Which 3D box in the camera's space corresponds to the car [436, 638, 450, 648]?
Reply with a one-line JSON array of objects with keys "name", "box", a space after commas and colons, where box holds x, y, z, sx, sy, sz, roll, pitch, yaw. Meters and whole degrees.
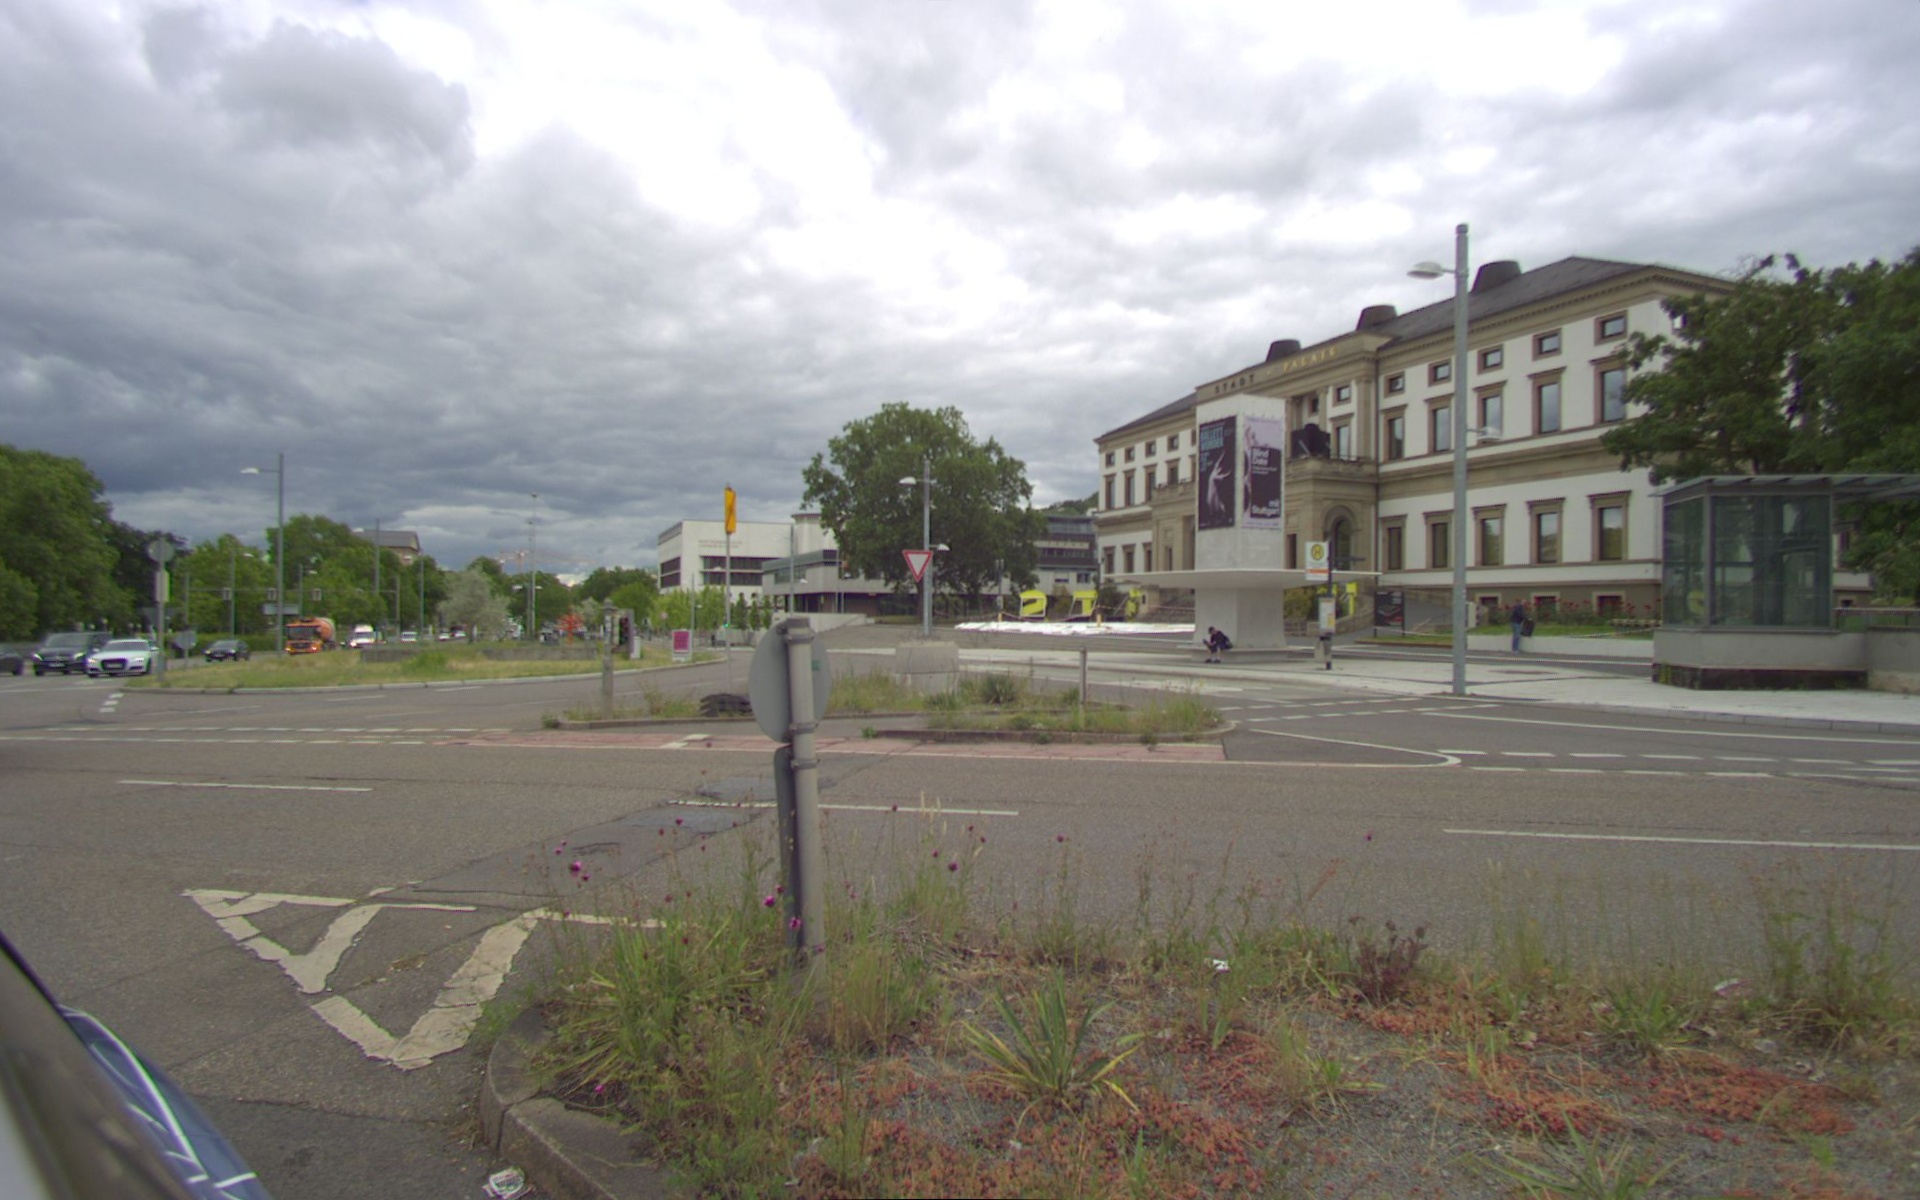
[{"name": "car", "box": [-97.320, 8.141, 190.522, 1.753, 1.859, 3.811, 0, -2, -20]}]

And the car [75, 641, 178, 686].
[{"name": "car", "box": [-32.811, 2.452, 40.010, 2.060, 1.621, 4.426, 1, -2, -25]}]

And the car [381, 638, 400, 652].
[{"name": "car", "box": [-76.694, 6.050, 136.318, 1.753, 1.859, 3.811, 0, -2, -23]}]

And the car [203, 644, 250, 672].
[{"name": "car", "box": [-49.431, 3.862, 68.243, 1.828, 1.752, 3.752, 0, -2, -24]}]

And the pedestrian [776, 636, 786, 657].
[{"name": "pedestrian", "box": [-15.512, 4.017, 87.693, 0.672, 1.762, 0.894, 0, -2, -28]}]

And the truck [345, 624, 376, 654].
[{"name": "truck", "box": [-59.080, 3.794, 99.828, 1.923, 2.805, 5.808, 0, -2, -23]}]

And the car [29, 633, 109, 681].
[{"name": "car", "box": [-39.499, 2.465, 44.972, 1.829, 2.003, 4.655, 1, -2, -31]}]

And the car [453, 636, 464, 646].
[{"name": "car", "box": [-103.792, 8.505, 209.469, 1.753, 1.859, 3.811, 0, -2, -20]}]

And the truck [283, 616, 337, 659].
[{"name": "truck", "box": [-58.665, 3.384, 91.536, 2.681, 3.644, 9.208, 0, -2, -24]}]

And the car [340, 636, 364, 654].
[{"name": "car", "box": [-66.818, 4.924, 111.203, 1.753, 1.922, 3.811, 0, -2, -23]}]

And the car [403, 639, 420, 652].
[{"name": "car", "box": [-82.774, 6.872, 152.772, 1.753, 1.859, 3.811, 0, -2, -20]}]

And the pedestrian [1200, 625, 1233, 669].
[{"name": "pedestrian", "box": [8.006, 1.453, 31.619, 0.694, 1.363, 0.763, 0, -2, -17]}]

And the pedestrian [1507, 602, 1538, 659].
[{"name": "pedestrian", "box": [18.389, 0.993, 33.073, 0.594, 1.827, 0.597, -1, -2, -8]}]
